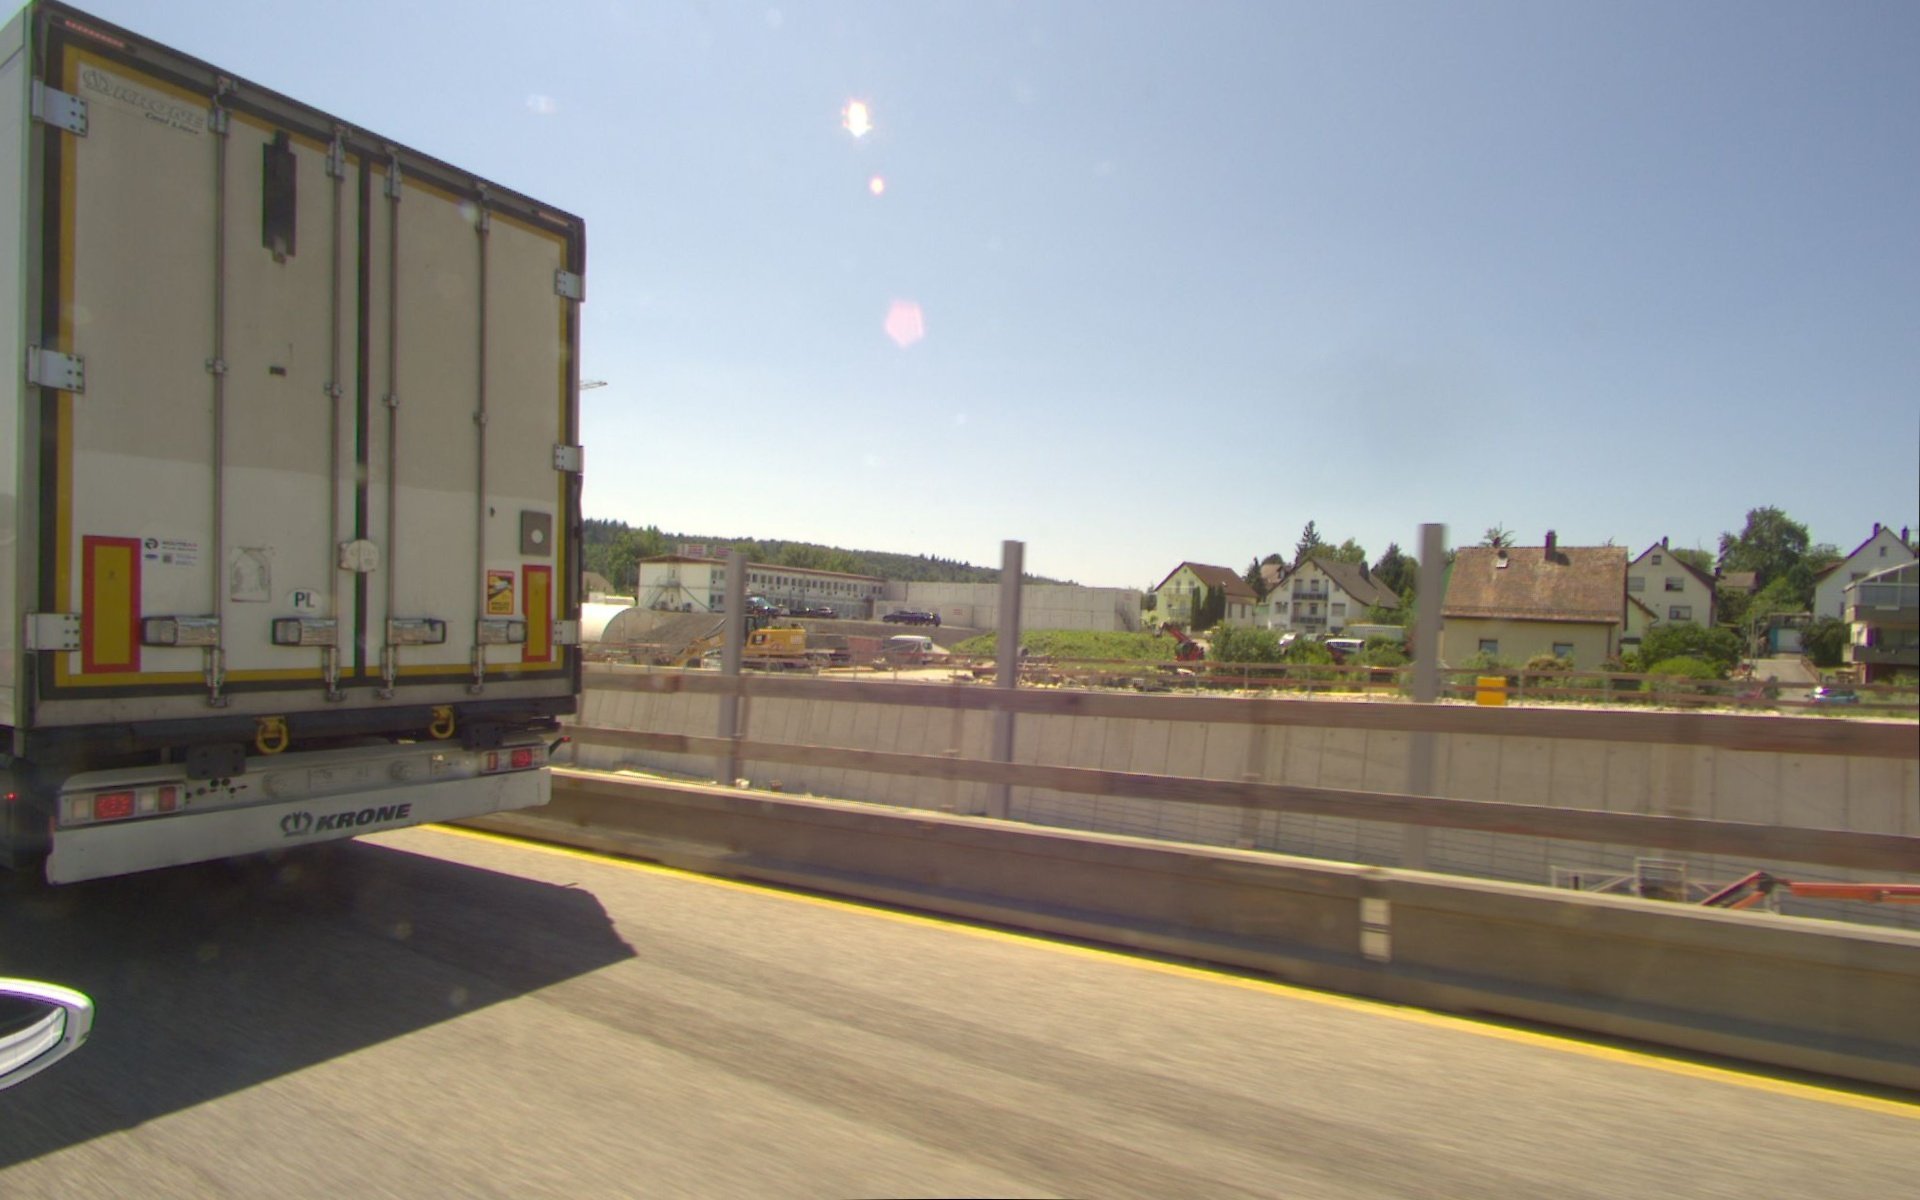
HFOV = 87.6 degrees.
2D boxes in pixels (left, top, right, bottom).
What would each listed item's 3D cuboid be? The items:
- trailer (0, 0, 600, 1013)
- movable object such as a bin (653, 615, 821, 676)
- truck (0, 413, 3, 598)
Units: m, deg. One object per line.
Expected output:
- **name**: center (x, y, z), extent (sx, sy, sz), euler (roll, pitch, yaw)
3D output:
- **trailer**: center (-8.801, -0.348, 8.766), extent (13.918, 4.110, 2.796), euler (-1, -2, 33)
- **movable object such as a bin**: center (-11.741, 2.295, 52.269), extent (9.346, 2.946, 2.882), euler (0, -2, 34)
- **truck**: center (-14.691, -0.281, 12.597), extent (4.835, 4.110, 2.771), euler (-1, -1, 33)
